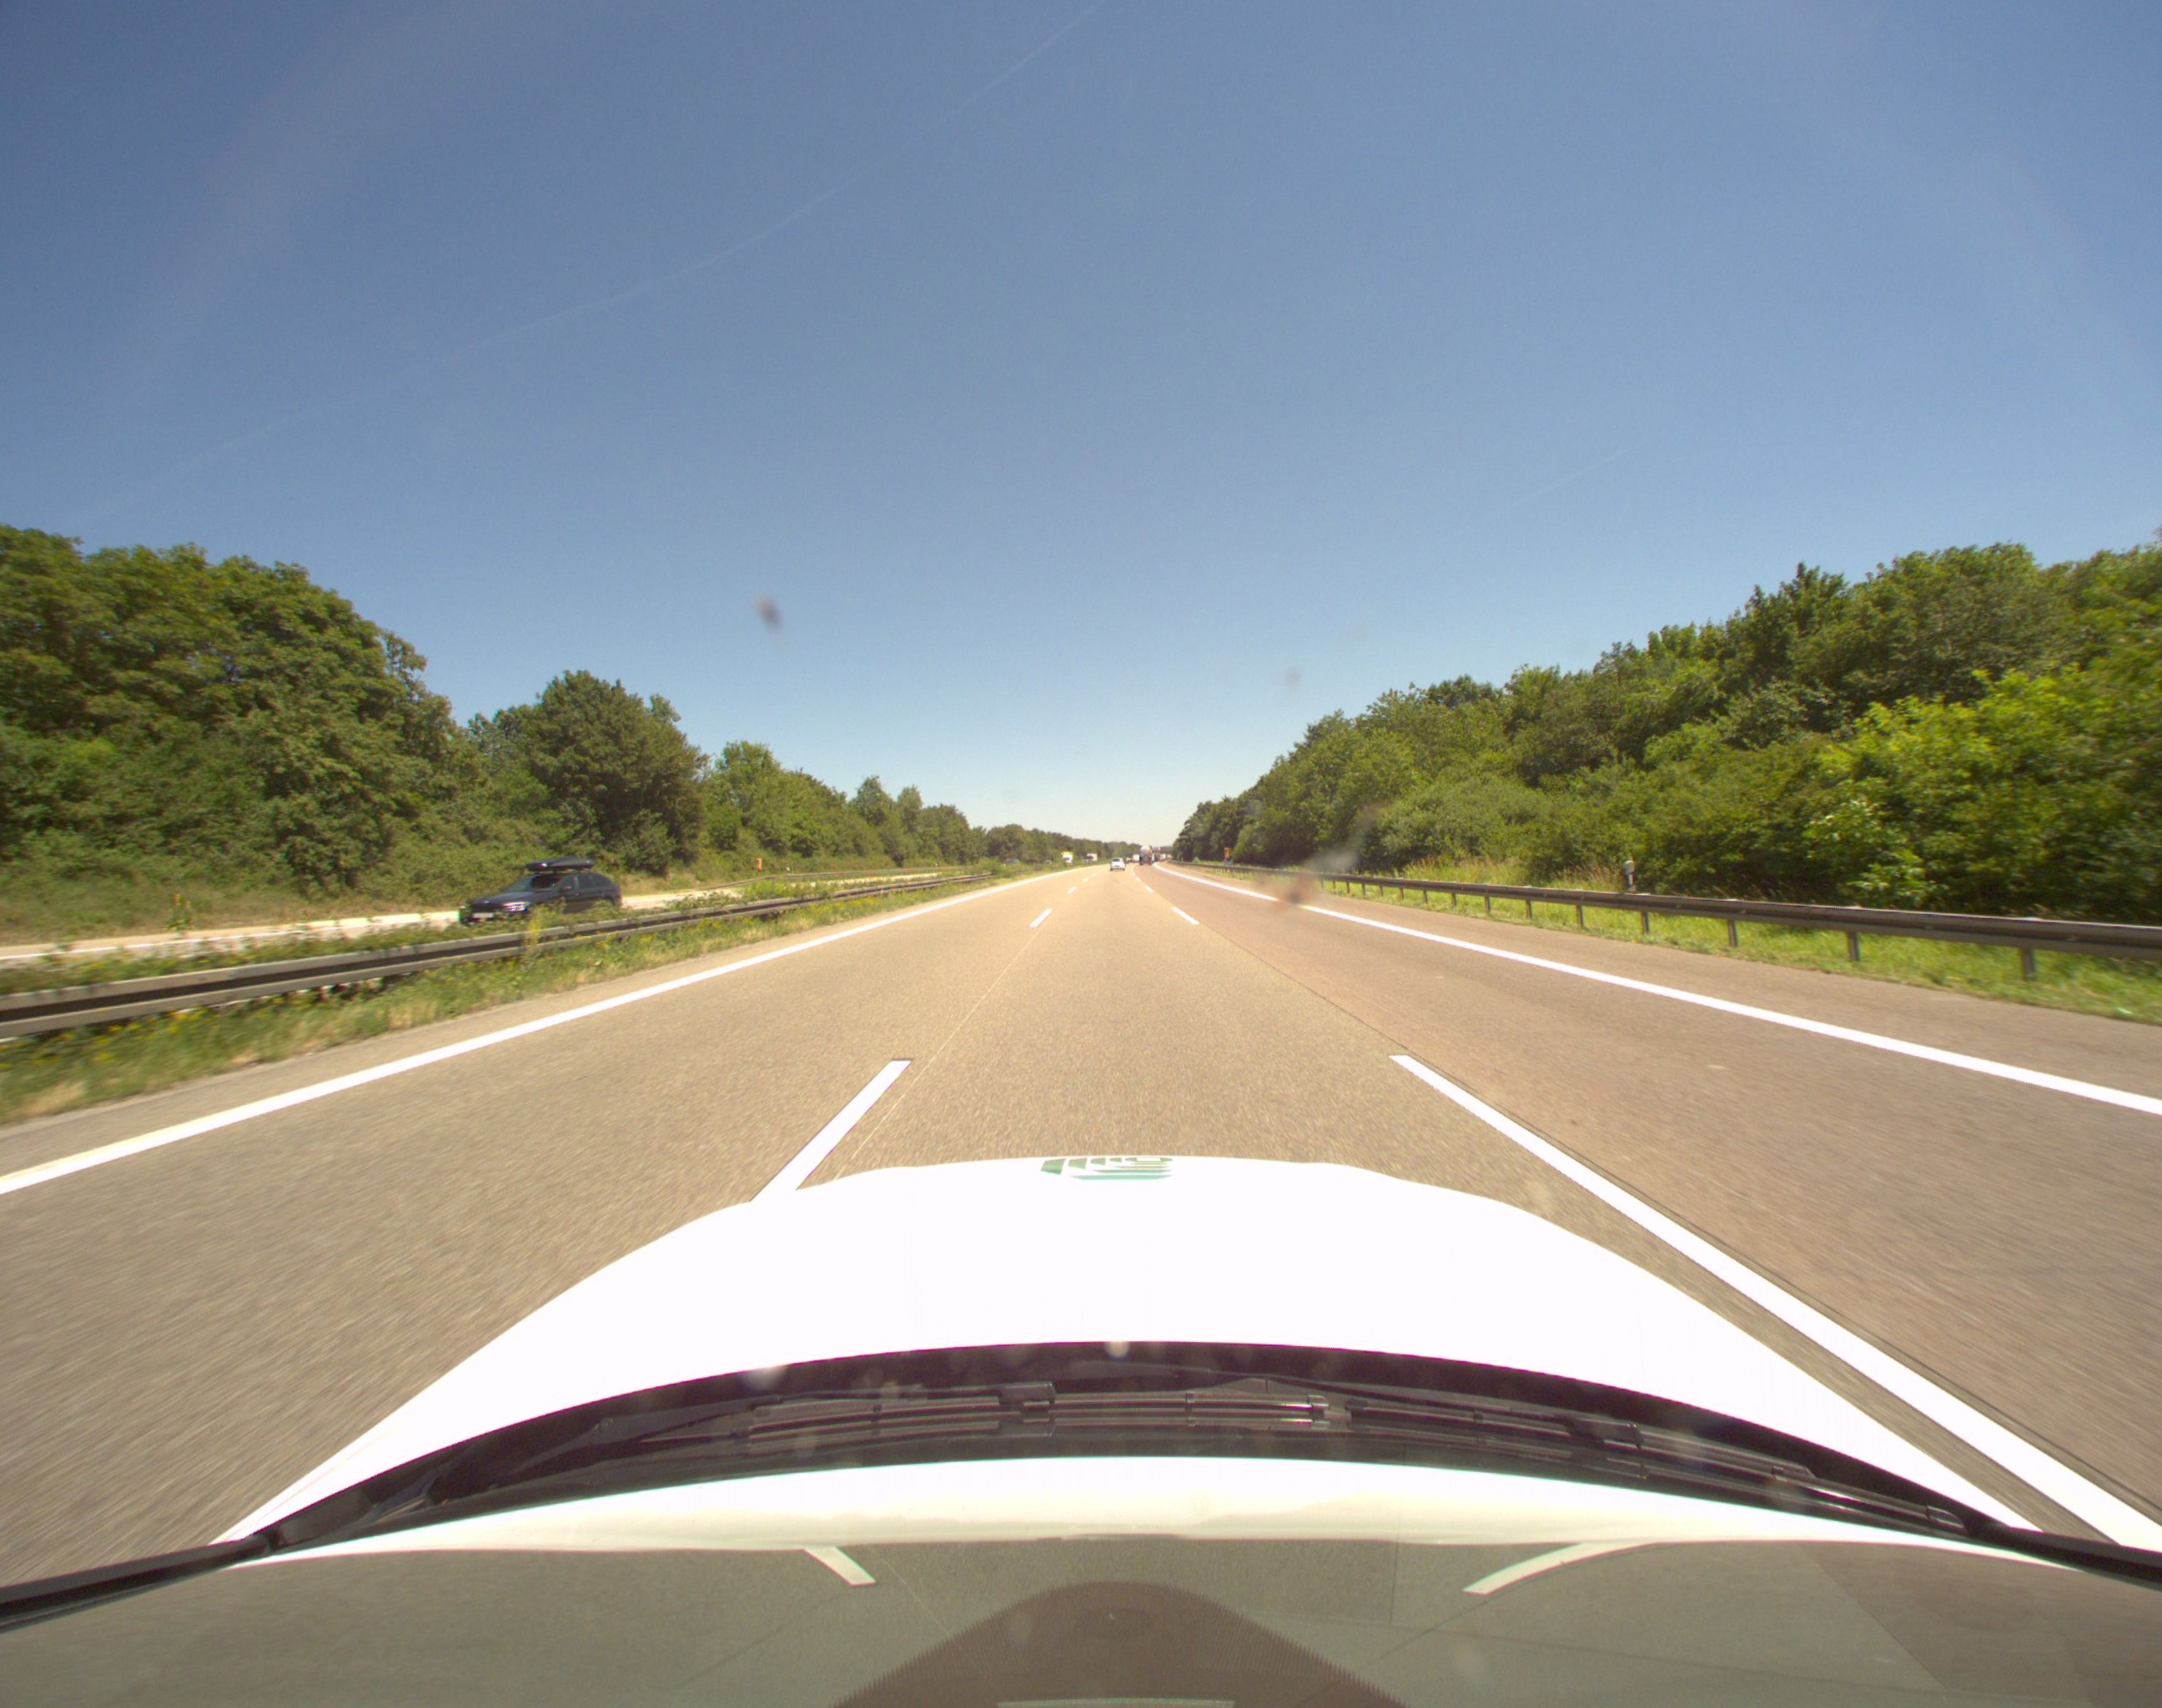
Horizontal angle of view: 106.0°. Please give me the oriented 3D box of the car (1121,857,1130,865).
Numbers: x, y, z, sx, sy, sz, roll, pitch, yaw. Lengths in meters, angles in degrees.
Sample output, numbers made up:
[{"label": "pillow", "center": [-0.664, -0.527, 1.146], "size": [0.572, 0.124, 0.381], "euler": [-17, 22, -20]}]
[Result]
[{"label": "car", "center": [10.978, 1.746, 201.046], "size": [1.984, 2.013, 4.005], "euler": [-2, 0, 5]}]

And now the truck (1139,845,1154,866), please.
[{"label": "truck", "center": [13.520, 0.321, 168.199], "size": [2.726, 4.052, 10.469], "euler": [-2, -1, 5]}]

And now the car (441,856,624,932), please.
[{"label": "car", "center": [-15.431, 1.029, 23.322], "size": [1.820, 1.906, 4.956], "euler": [-1, 0, 1]}]

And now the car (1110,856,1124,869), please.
[{"label": "car", "center": [4.268, 1.010, 97.857], "size": [1.621, 1.479, 4.002], "euler": [-1, -1, 2]}]

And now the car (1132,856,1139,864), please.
[{"label": "car", "center": [16.416, 1.656, 243.213], "size": [1.984, 2.343, 4.392], "euler": [-1, 0, 5]}]
